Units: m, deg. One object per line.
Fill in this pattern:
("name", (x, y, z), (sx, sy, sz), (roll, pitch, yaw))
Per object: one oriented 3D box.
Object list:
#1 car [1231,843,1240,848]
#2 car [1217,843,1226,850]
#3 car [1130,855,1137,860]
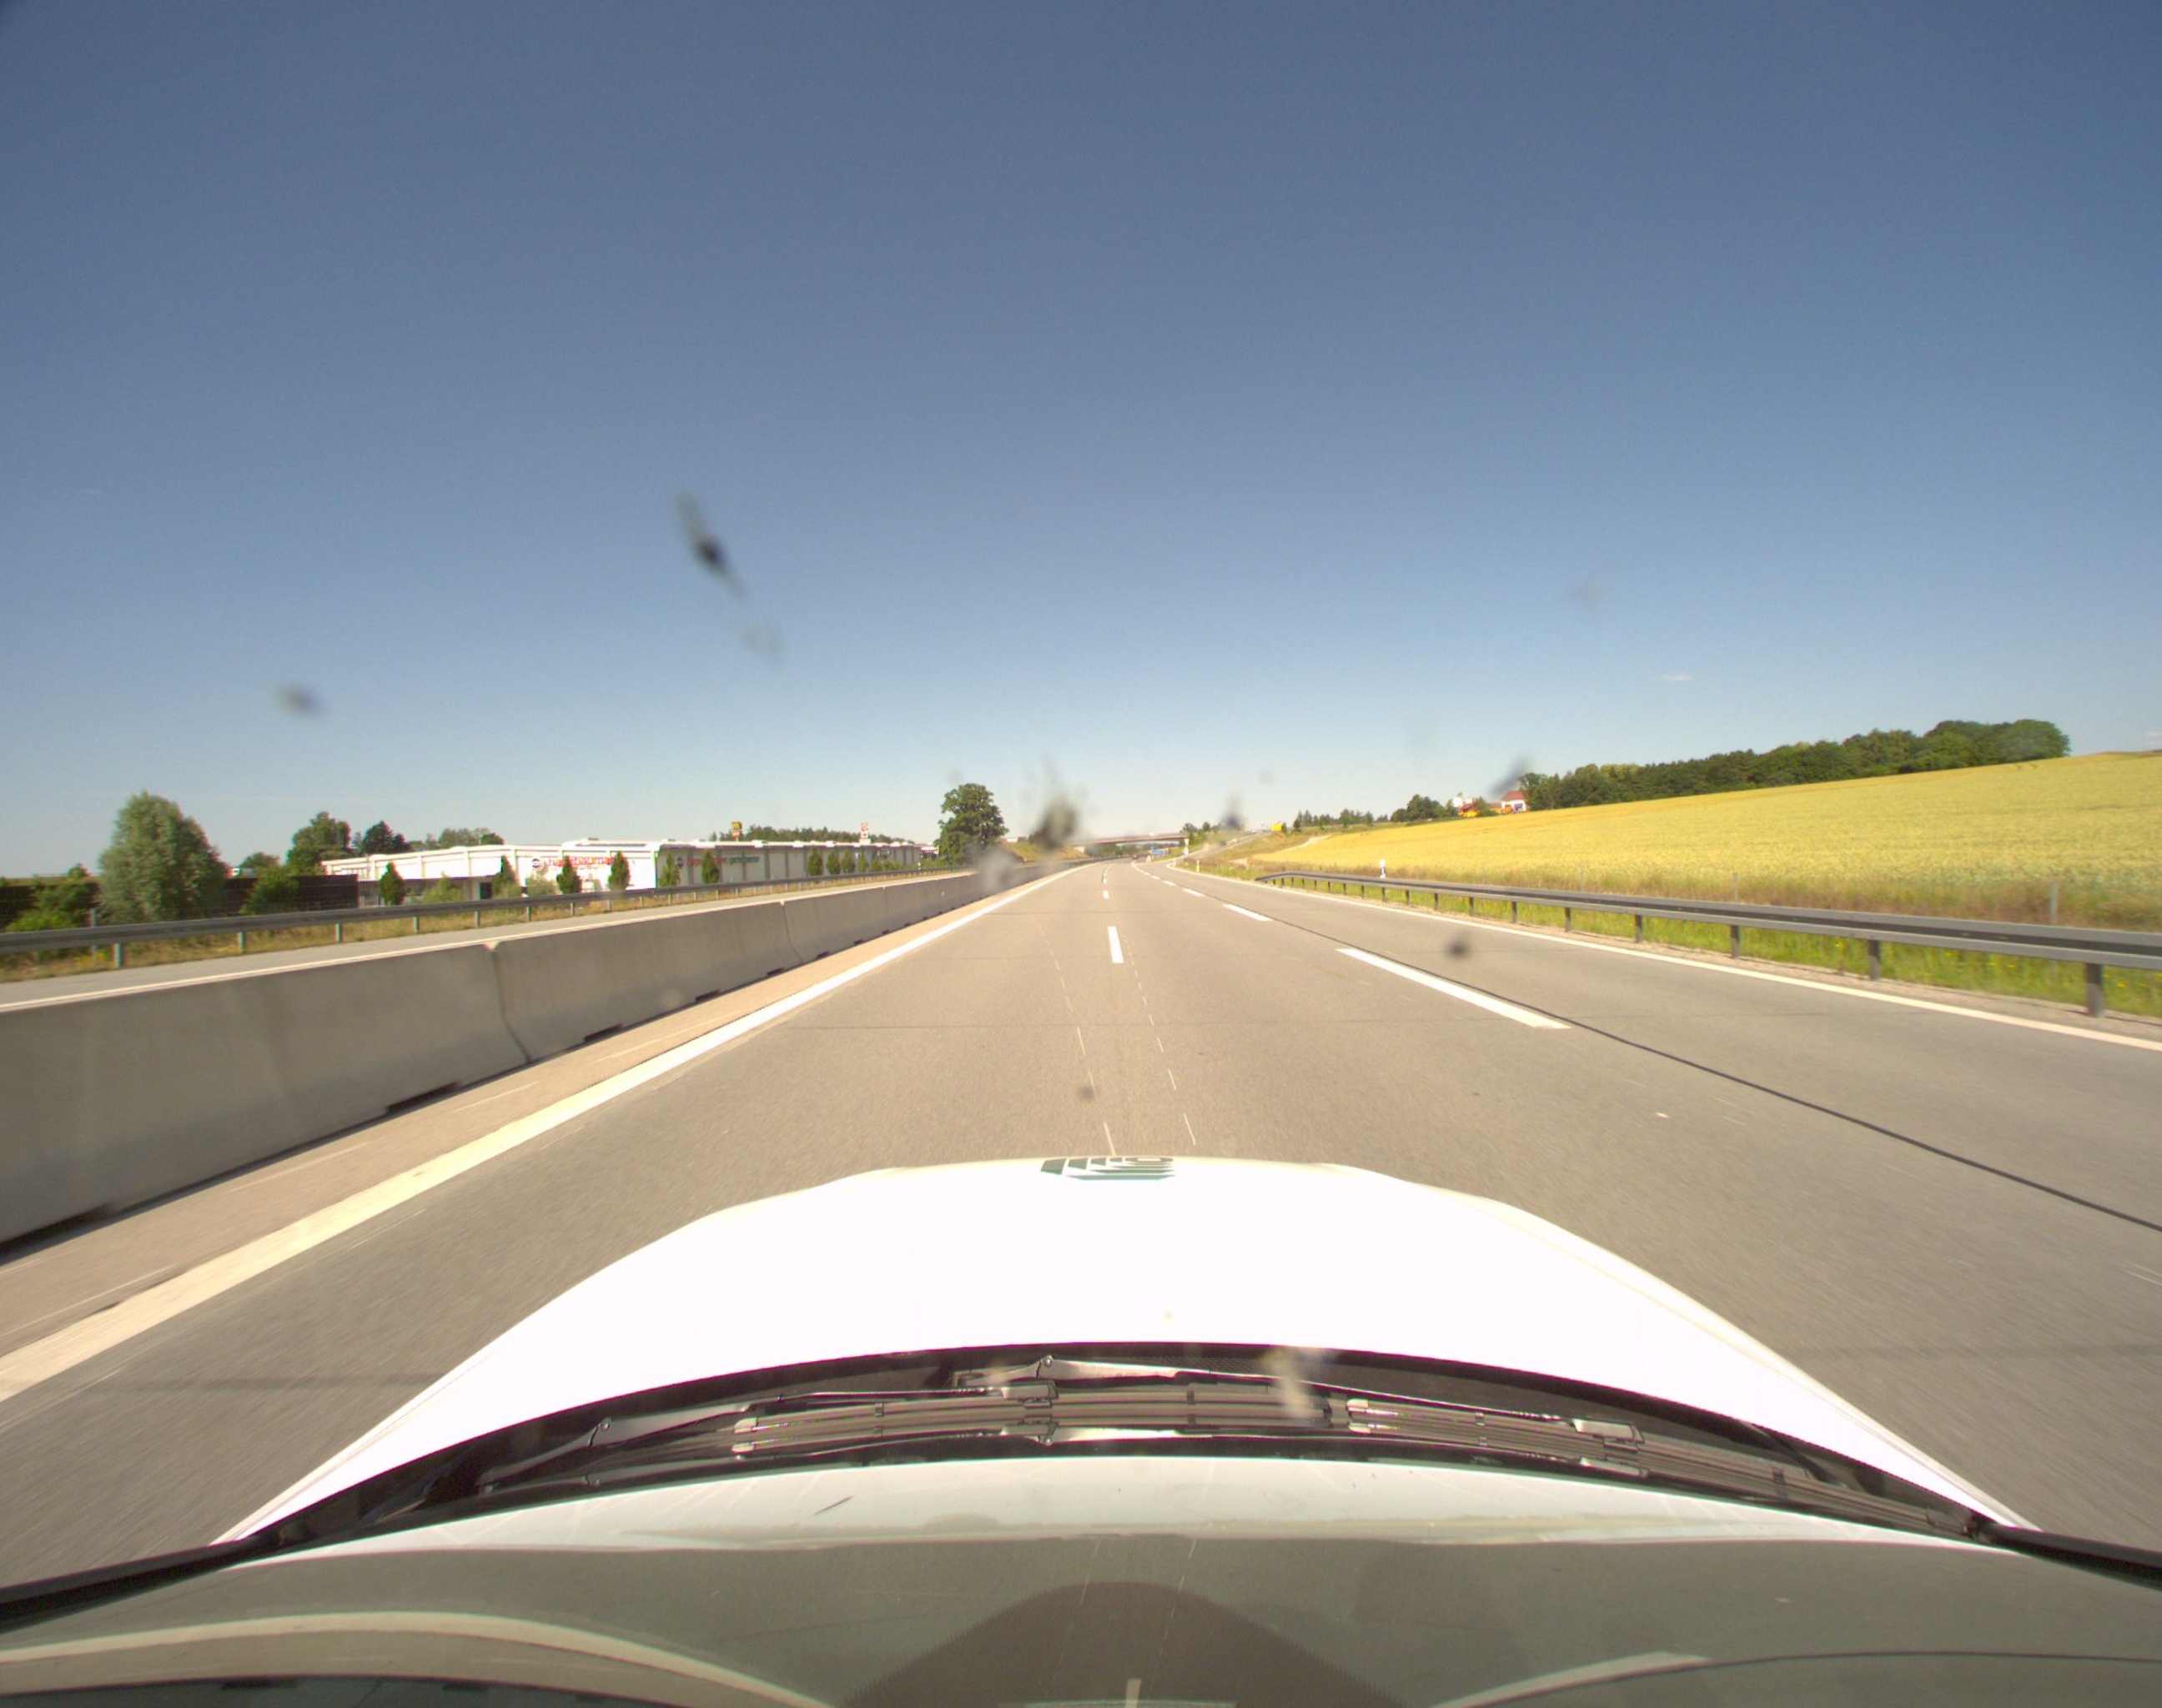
("car", (47.769, -2.587, 252.239), (1.977, 1.618, 4.020), (-3, 0, 20))
("car", (43.494, -2.464, 252.374), (1.977, 2.013, 4.020), (-3, 0, 20))
("car", (16.477, 0.991, 254.420), (1.984, 1.420, 4.005), (-3, 0, 4))
